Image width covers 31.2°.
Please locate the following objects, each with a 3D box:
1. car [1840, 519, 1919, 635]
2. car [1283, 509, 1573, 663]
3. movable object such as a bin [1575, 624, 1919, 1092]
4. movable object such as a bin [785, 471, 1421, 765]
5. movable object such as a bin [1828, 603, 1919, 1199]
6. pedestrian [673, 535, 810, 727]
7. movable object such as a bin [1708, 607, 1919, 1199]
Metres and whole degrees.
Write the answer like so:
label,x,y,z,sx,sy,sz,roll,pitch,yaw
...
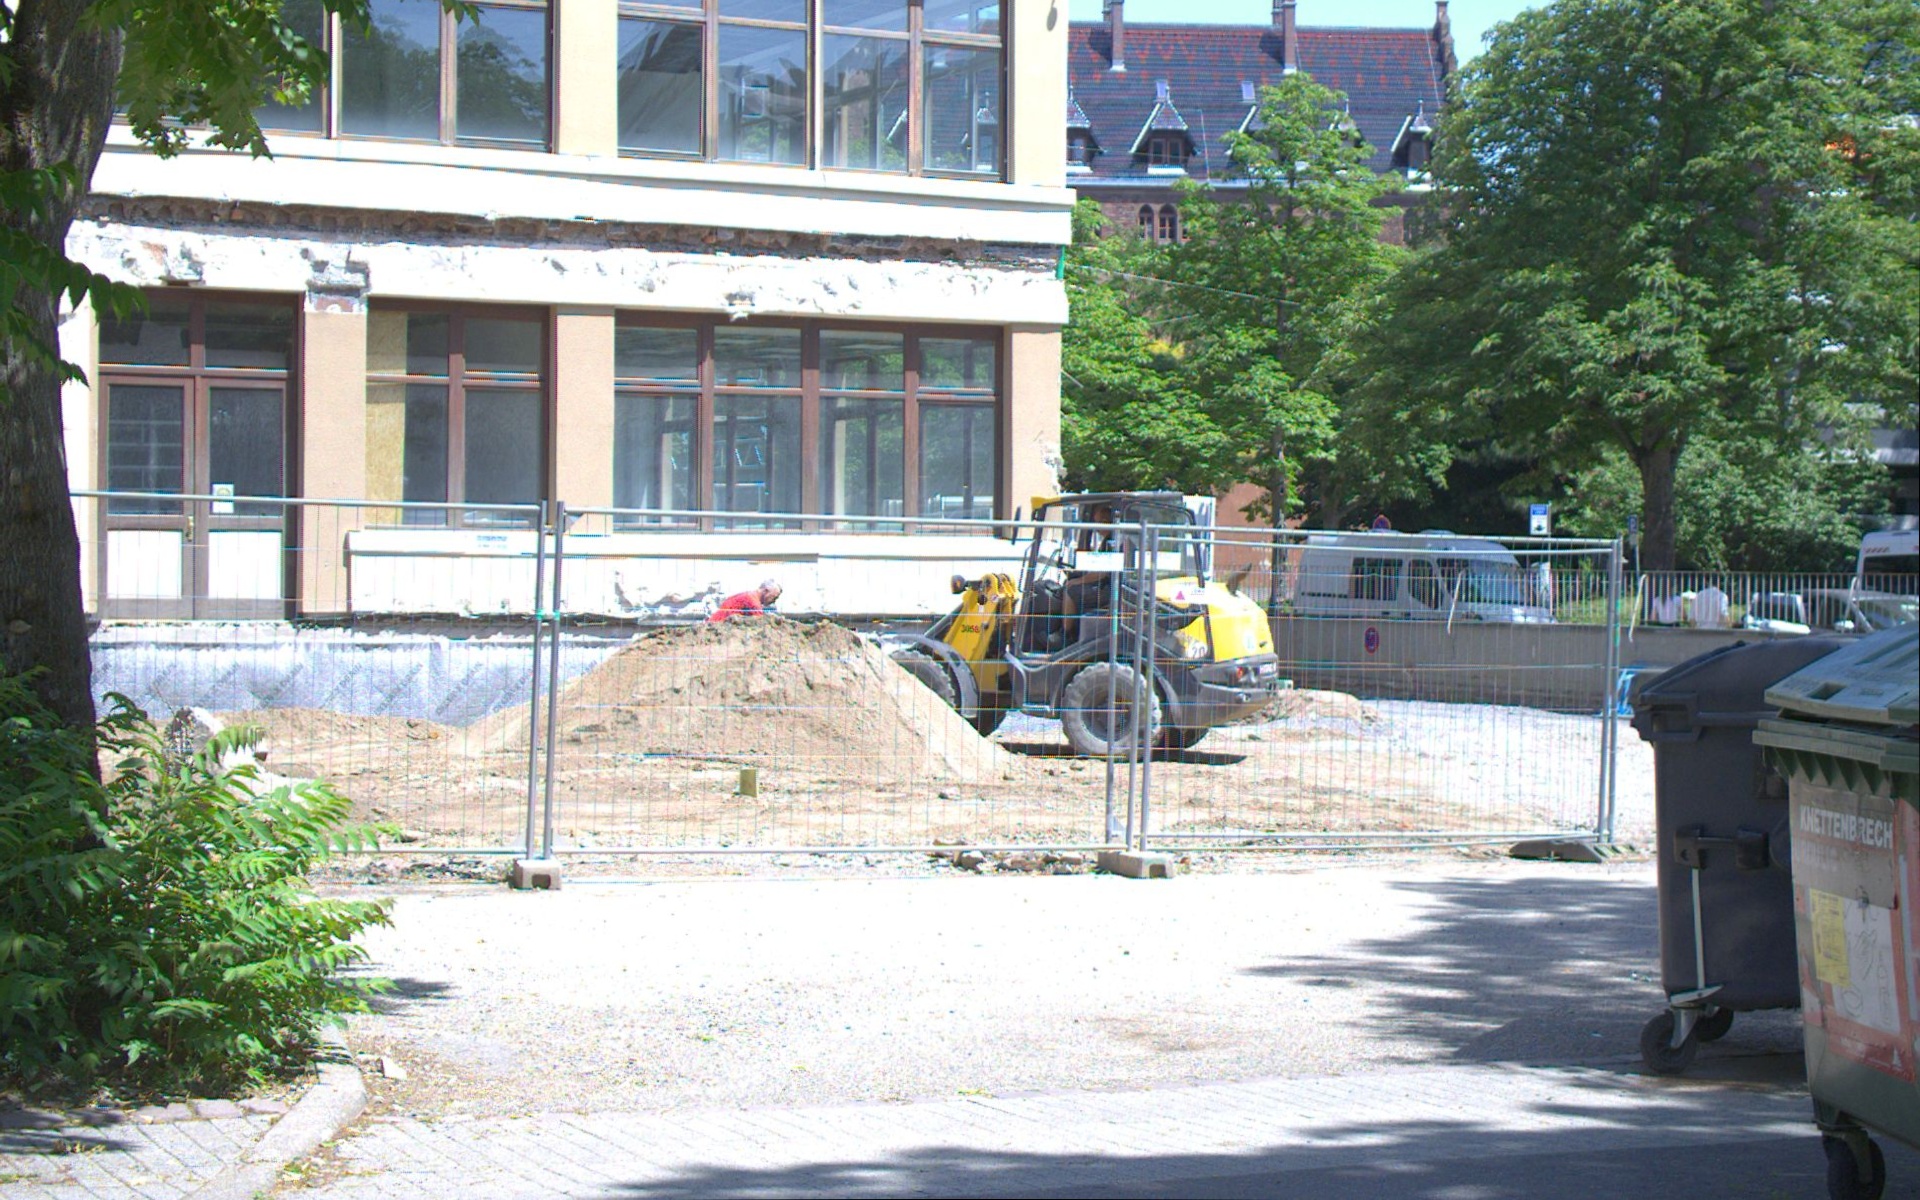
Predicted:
label,x,y,z,sx,sy,sz,roll,pitch,yaw
car,19.008,-0.446,68.608,2.187,2.250,4.863,0,0,22
car,7.643,-0.228,56.719,1.993,2.408,5.244,0,0,-29
movable object such as a bin,2.712,0.816,11.500,1.075,1.453,1.377,0,0,1
movable object such as a bin,1.329,0.109,32.300,5.410,2.456,2.365,2,1,26
movable object such as a bin,2.365,0.739,6.573,1.075,1.453,1.377,0,0,1
pedestrian,-2.133,0.293,33.642,0.984,1.840,0.915,0,0,29
movable object such as a bin,2.423,0.750,7.995,1.075,1.453,1.377,0,0,1
